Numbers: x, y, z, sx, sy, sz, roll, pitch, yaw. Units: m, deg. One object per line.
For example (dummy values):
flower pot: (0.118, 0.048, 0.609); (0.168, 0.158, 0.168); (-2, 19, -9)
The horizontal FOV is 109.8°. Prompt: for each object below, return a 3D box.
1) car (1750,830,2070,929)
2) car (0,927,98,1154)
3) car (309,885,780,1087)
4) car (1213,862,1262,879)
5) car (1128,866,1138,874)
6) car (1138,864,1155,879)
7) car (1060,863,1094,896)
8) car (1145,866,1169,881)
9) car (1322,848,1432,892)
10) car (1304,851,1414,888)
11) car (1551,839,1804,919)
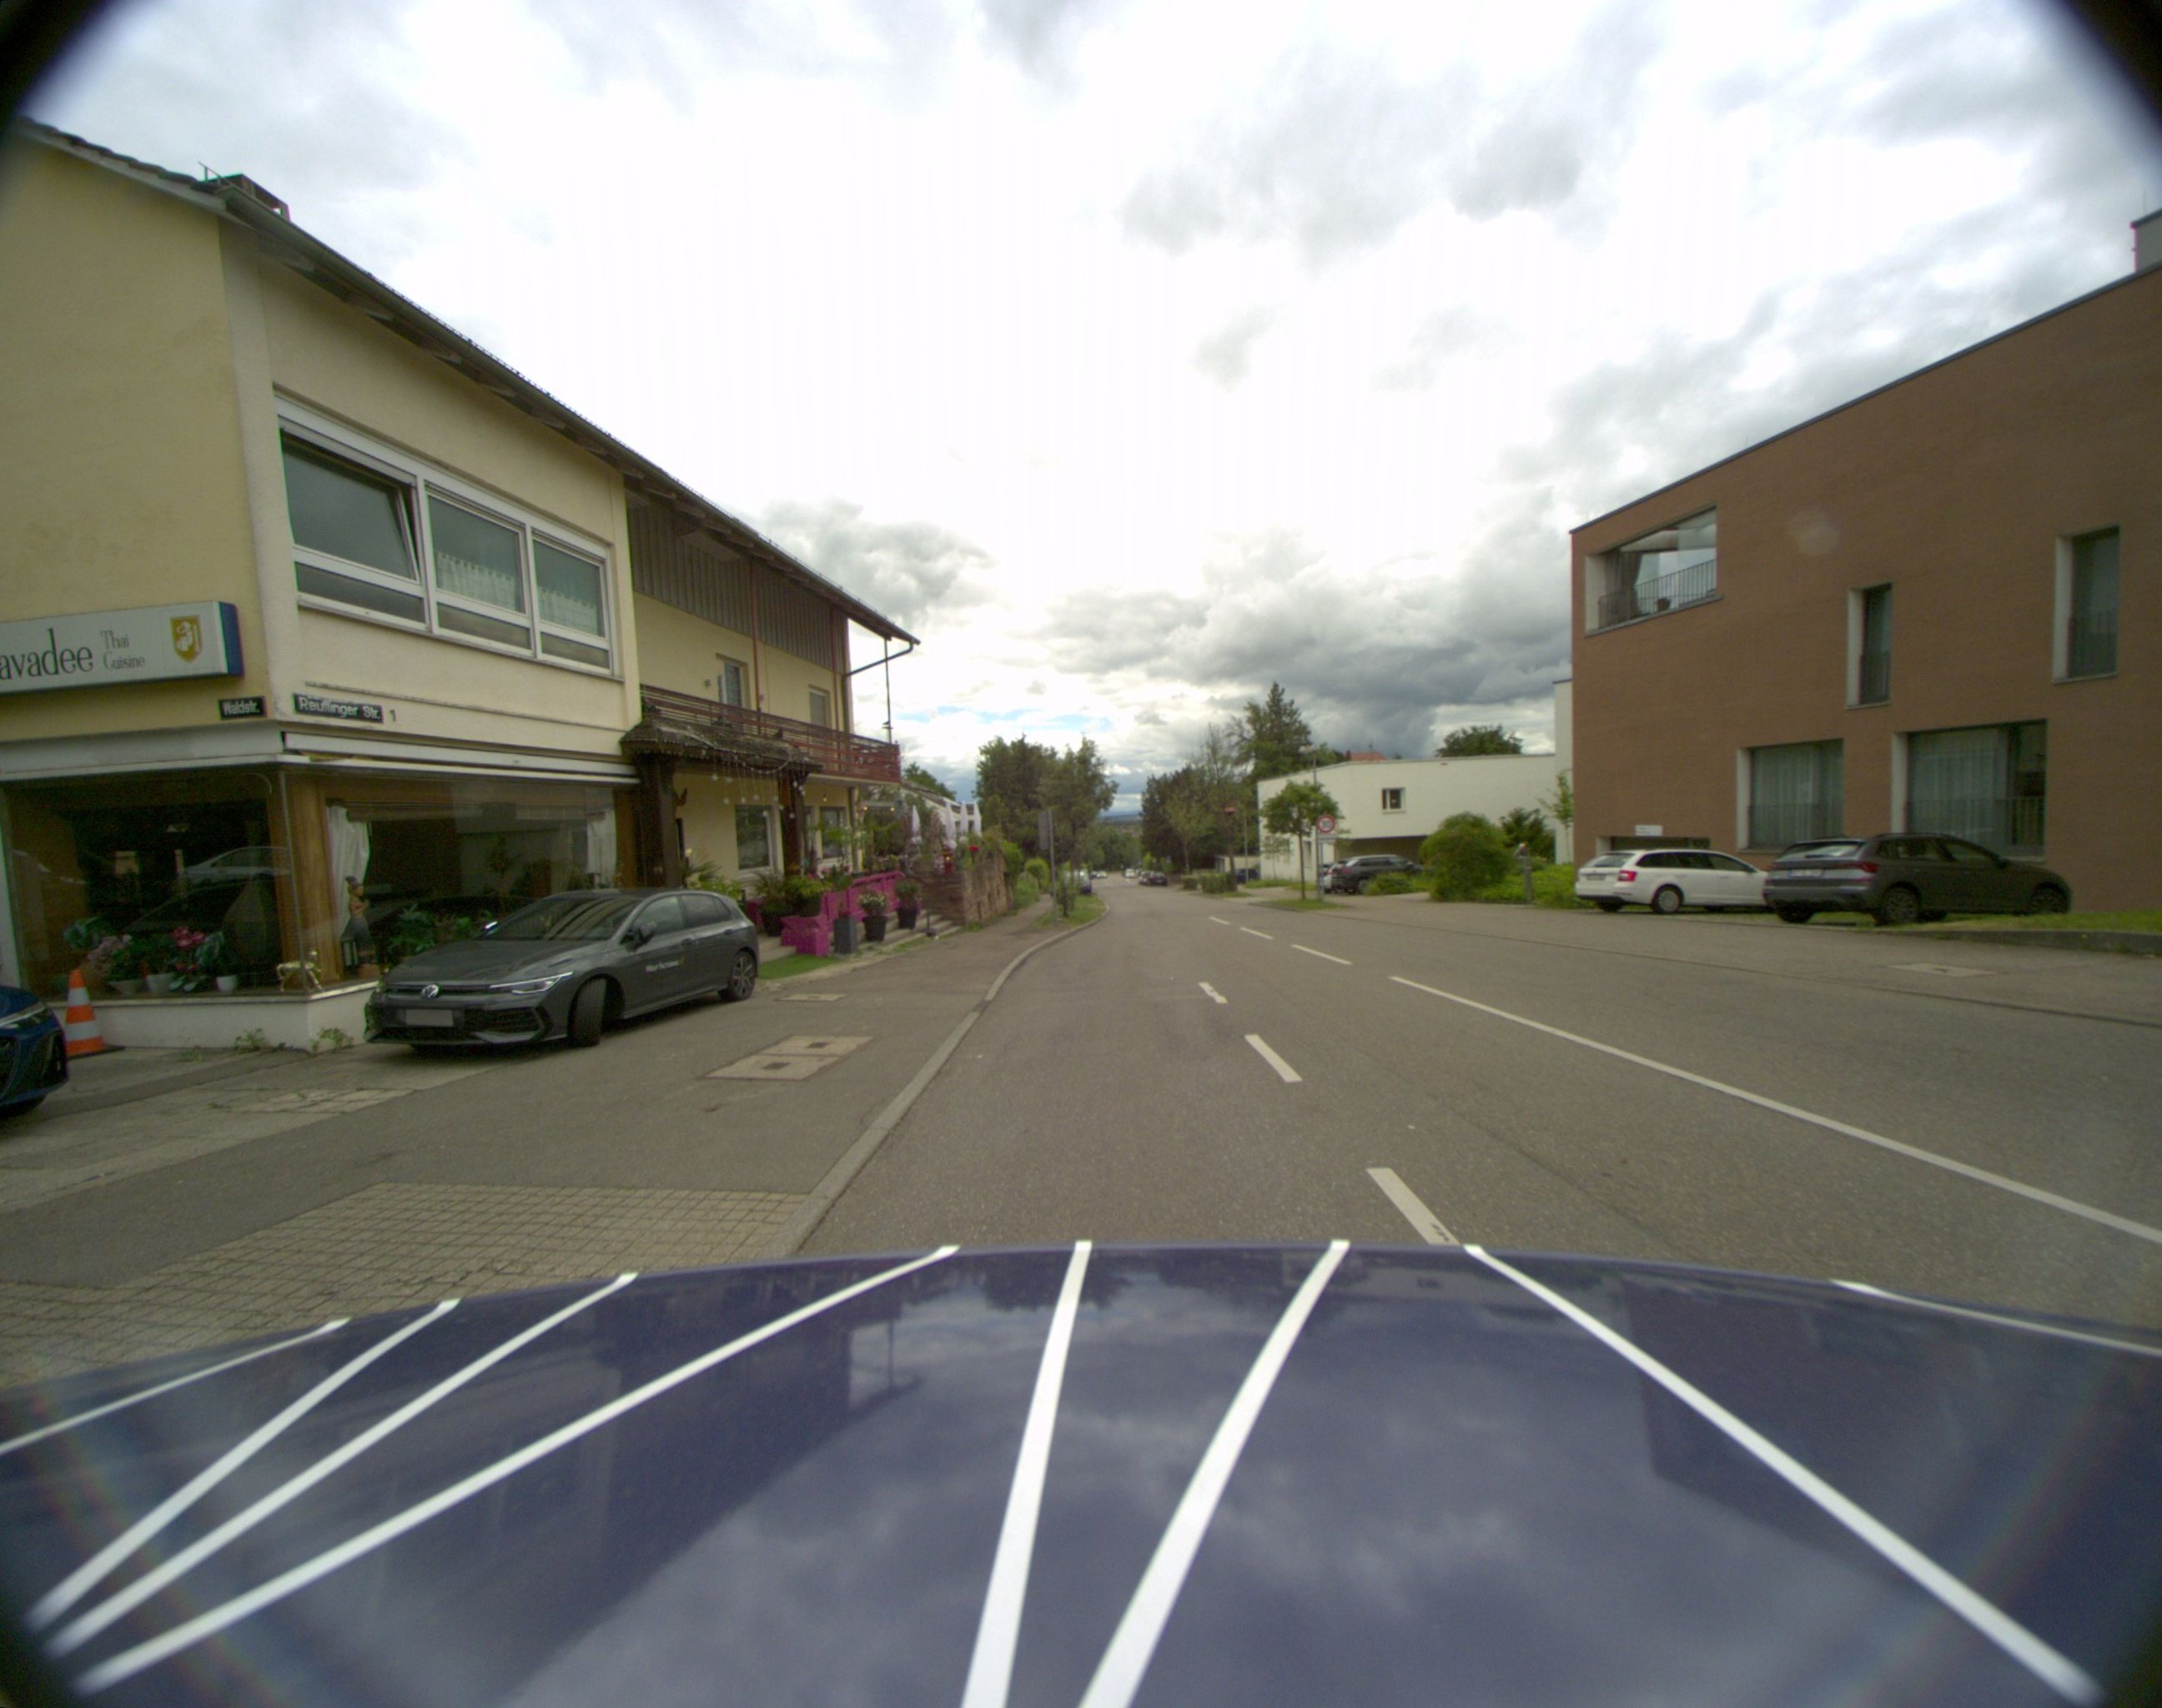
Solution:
car: (13.951, 0.419, 12.917); (3.771, 1.455, 1.731); (-2, -2, -6)
car: (-8.797, 1.210, 4.555); (4.503, 1.319, 1.838); (-2, 1, 14)
car: (-5.236, 1.159, 8.350); (1.852, 1.463, 4.387); (0, 0, 4)
car: (13.927, 1.467, 67.724); (3.806, 1.346, 1.741); (-3, -1, -6)
car: (9.090, 2.776, 134.016); (1.693, 1.411, 3.581); (0, -1, 3)
car: (7.359, 1.940, 85.553); (1.628, 1.510, 2.975); (-3, 0, -1)
car: (-0.255, 1.553, 47.450); (1.941, 1.826, 5.219); (-3, -1, 0)
car: (7.697, 1.971, 77.477); (1.855, 1.460, 4.683); (-2, -1, -2)
car: (12.967, 0.691, 33.461); (3.997, 1.643, 2.009); (-3, -1, 1)
car: (13.195, 0.724, 36.256); (4.398, 1.557, 2.066); (-2, -1, -2)
car: (13.533, 0.535, 17.419); (4.272, 1.614, 2.013); (-2, 0, -3)
